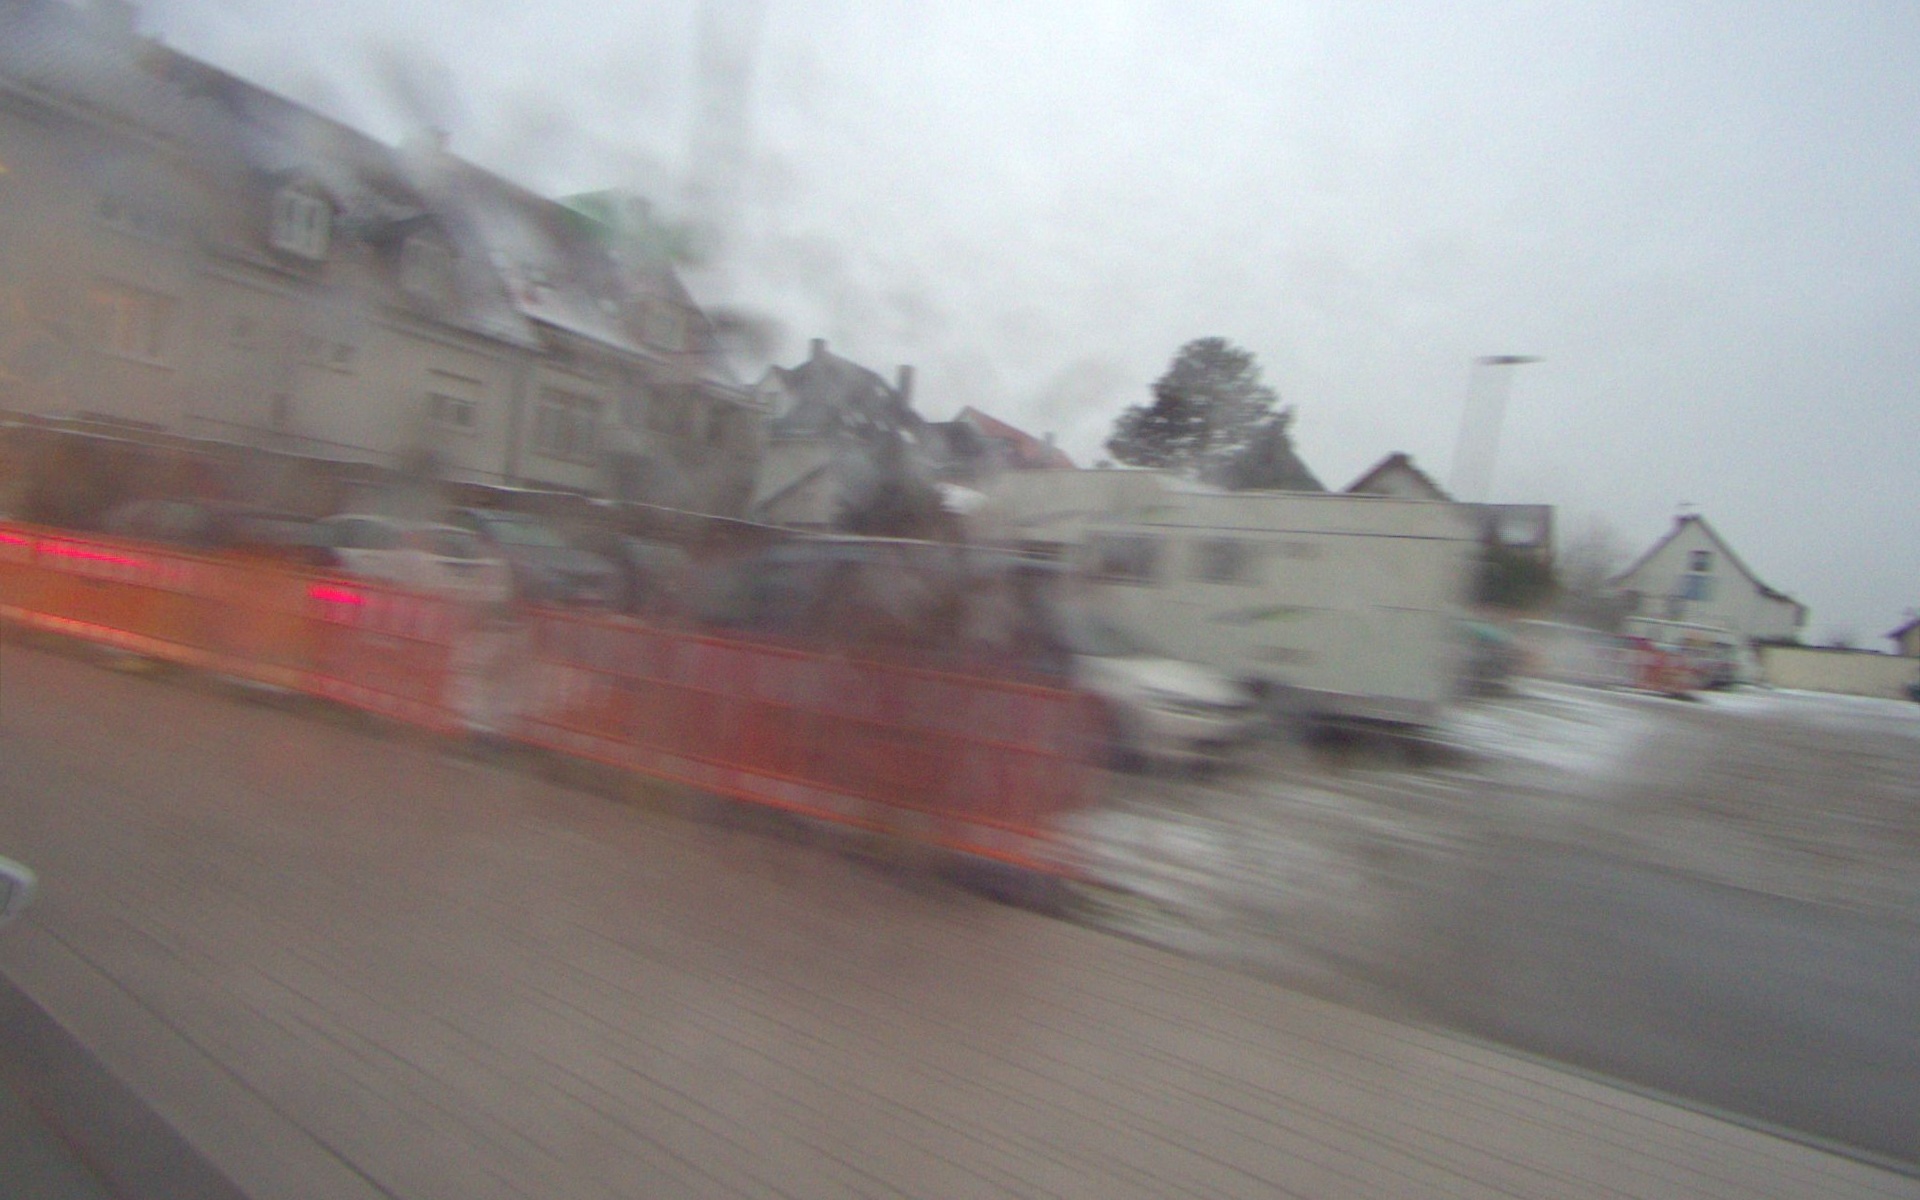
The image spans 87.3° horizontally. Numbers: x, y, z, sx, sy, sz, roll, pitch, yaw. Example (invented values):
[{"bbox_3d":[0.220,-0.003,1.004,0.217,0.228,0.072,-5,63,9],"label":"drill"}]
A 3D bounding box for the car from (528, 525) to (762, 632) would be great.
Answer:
[{"bbox_3d":[-6.238,-0.448,19.774,4.464,1.482,1.887,9,3,33],"label":"car"}]

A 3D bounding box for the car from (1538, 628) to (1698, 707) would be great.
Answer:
[{"bbox_3d":[21.607,2.188,33.126,1.987,2.040,3.948,4,2,-45],"label":"car"}]

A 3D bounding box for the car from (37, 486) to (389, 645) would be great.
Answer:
[{"bbox_3d":[-9.247,-0.415,12.481,3.567,1.480,1.892,7,0,23],"label":"car"}]

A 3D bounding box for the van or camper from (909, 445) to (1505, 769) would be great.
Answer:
[{"bbox_3d":[2.970,-0.150,12.750,6.618,3.090,2.652,6,3,28],"label":"van or camper"}]

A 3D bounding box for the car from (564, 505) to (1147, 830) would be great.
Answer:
[{"bbox_3d":[-0.965,0.339,8.083,4.281,1.788,1.993,7,2,34],"label":"car"}]

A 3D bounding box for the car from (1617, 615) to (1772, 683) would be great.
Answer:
[{"bbox_3d":[32.131,2.138,44.184,5.193,2.275,1.994,6,-1,37],"label":"car"}]

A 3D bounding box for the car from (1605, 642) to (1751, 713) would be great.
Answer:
[{"bbox_3d":[26.363,2.814,36.998,1.987,2.040,3.948,4,2,-45],"label":"car"}]

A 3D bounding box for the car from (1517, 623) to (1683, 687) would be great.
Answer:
[{"bbox_3d":[19.654,1.677,31.000,1.760,1.471,3.948,4,2,-45],"label":"car"}]

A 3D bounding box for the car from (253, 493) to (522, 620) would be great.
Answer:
[{"bbox_3d":[-8.583,-0.648,15.071,3.569,1.481,1.723,7,2,26],"label":"car"}]

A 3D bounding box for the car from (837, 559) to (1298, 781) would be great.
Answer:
[{"bbox_3d":[0.985,0.565,10.183,4.111,1.631,1.992,5,1,37],"label":"car"}]

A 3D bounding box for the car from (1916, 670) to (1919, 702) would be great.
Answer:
[{"bbox_3d":[39.551,3.050,37.564,5.167,2.214,1.994,6,-1,37],"label":"car"}]

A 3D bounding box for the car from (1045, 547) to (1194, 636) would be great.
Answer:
[{"bbox_3d":[5.087,-0.303,32.362,4.191,2.364,1.882,8,3,42],"label":"car"}]

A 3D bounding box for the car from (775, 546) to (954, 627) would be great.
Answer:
[{"bbox_3d":[-2.314,-0.330,23.971,3.863,1.481,1.885,7,2,36],"label":"car"}]

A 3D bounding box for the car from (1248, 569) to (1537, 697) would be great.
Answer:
[{"bbox_3d":[8.277,0.550,19.546,4.731,1.910,1.773,6,3,40],"label":"car"}]

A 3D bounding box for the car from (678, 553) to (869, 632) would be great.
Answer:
[{"bbox_3d":[-4.152,-0.176,22.156,3.985,1.273,1.833,7,2,36],"label":"car"}]

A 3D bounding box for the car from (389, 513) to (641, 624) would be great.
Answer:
[{"bbox_3d":[-7.951,-0.582,17.841,4.473,1.481,1.823,7,2,32],"label":"car"}]

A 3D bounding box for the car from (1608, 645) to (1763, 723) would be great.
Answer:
[{"bbox_3d":[24.349,2.763,33.960,3.935,2.040,1.994,7,2,33],"label":"car"}]
